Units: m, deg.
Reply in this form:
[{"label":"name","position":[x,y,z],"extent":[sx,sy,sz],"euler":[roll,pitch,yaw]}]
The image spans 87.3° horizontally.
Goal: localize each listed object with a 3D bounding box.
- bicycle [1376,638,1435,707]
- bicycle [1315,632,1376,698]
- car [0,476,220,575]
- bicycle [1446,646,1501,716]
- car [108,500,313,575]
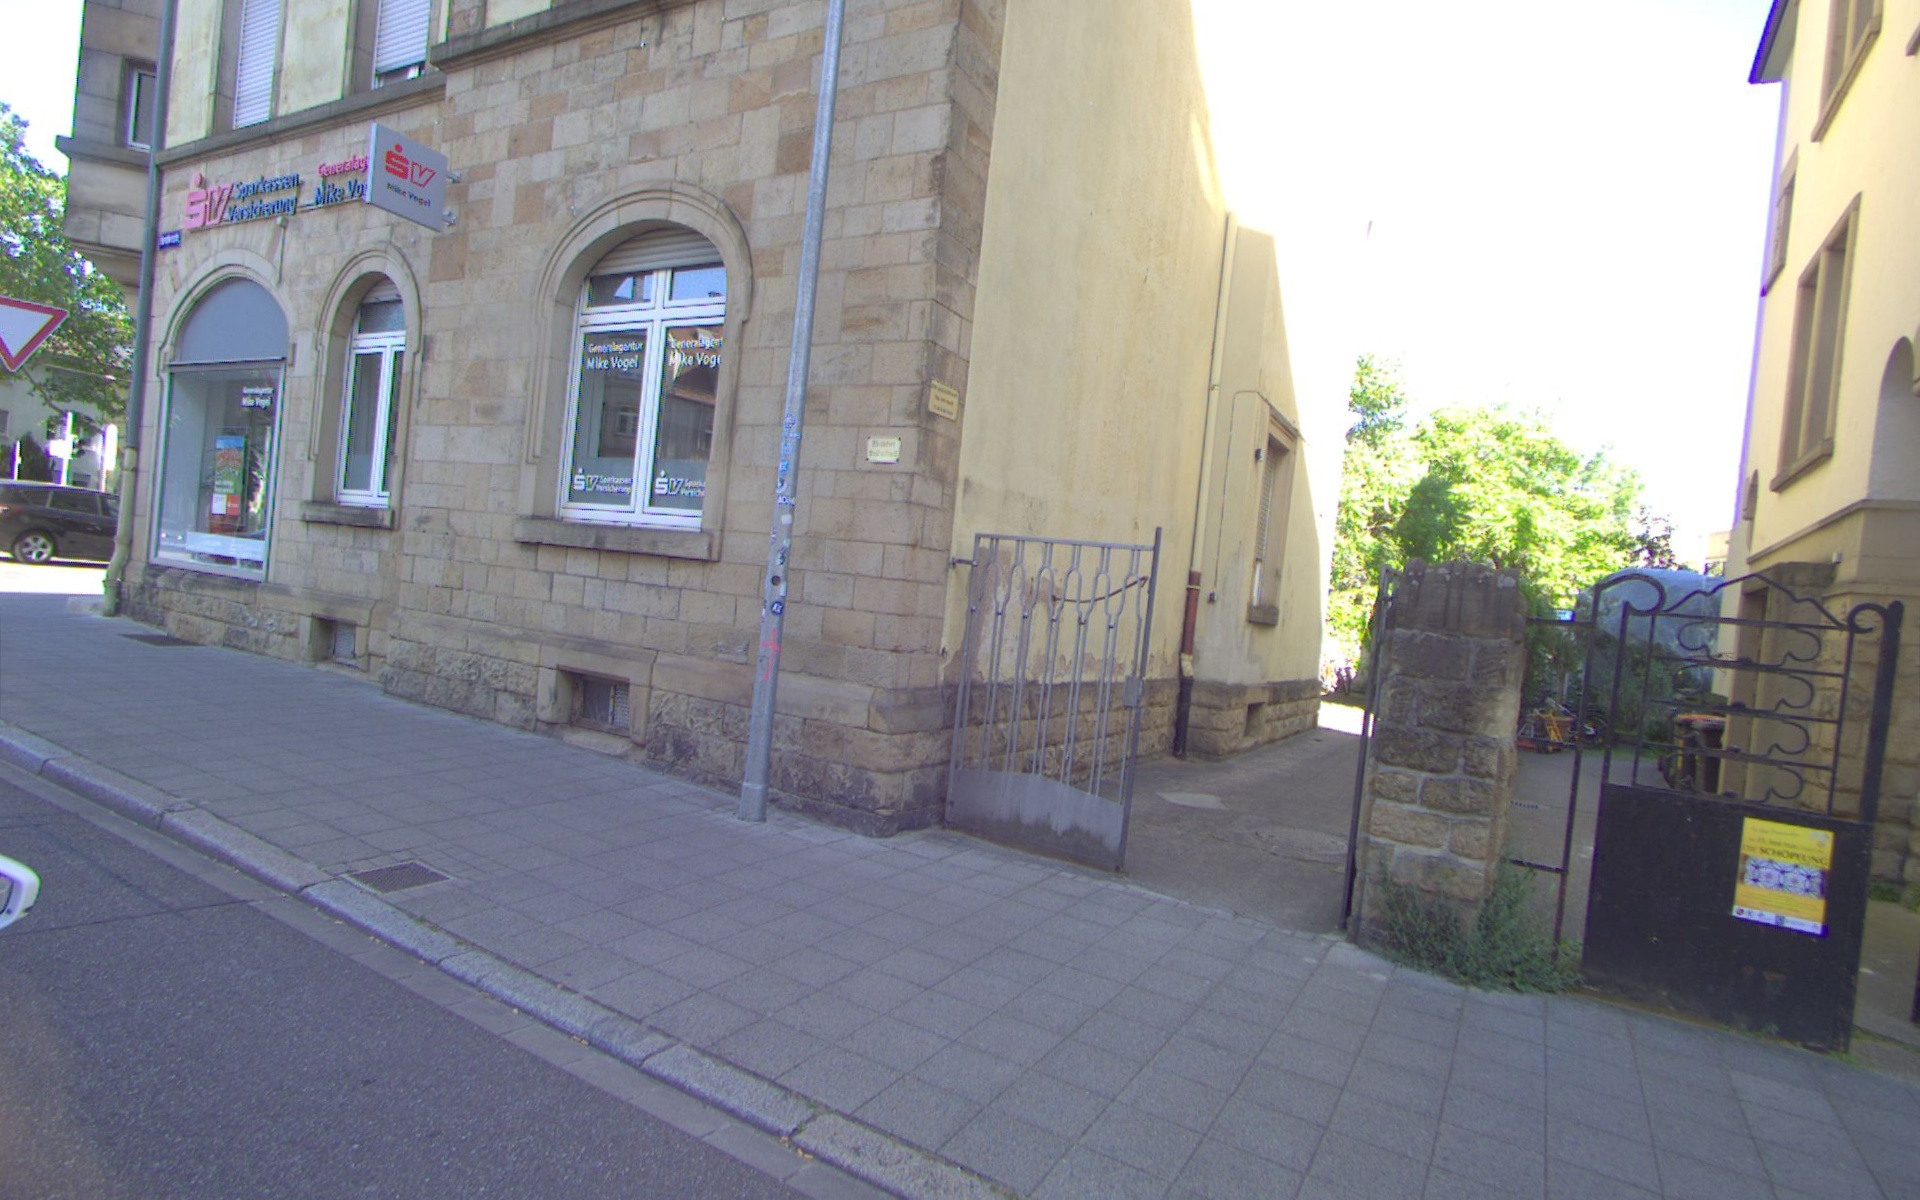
[{"label":"bicycle","position":[11.213,1.778,25.249],"extent":[0.904,1.532,2.667],"euler":[6,2,31]},{"label":"bicycle","position":[9.980,1.643,25.966],"extent":[0.904,1.532,2.667],"euler":[6,2,31]},{"label":"car","position":[-18.630,-1.559,21.248],"extent":[1.697,1.686,4.676],"euler":[7,1,16]},{"label":"bicycle","position":[12.598,1.938,24.636],"extent":[0.904,1.532,2.667],"euler":[6,2,31]},{"label":"car","position":[-20.121,-1.633,27.262],"extent":[1.647,1.475,4.215],"euler":[7,0,17]}]
